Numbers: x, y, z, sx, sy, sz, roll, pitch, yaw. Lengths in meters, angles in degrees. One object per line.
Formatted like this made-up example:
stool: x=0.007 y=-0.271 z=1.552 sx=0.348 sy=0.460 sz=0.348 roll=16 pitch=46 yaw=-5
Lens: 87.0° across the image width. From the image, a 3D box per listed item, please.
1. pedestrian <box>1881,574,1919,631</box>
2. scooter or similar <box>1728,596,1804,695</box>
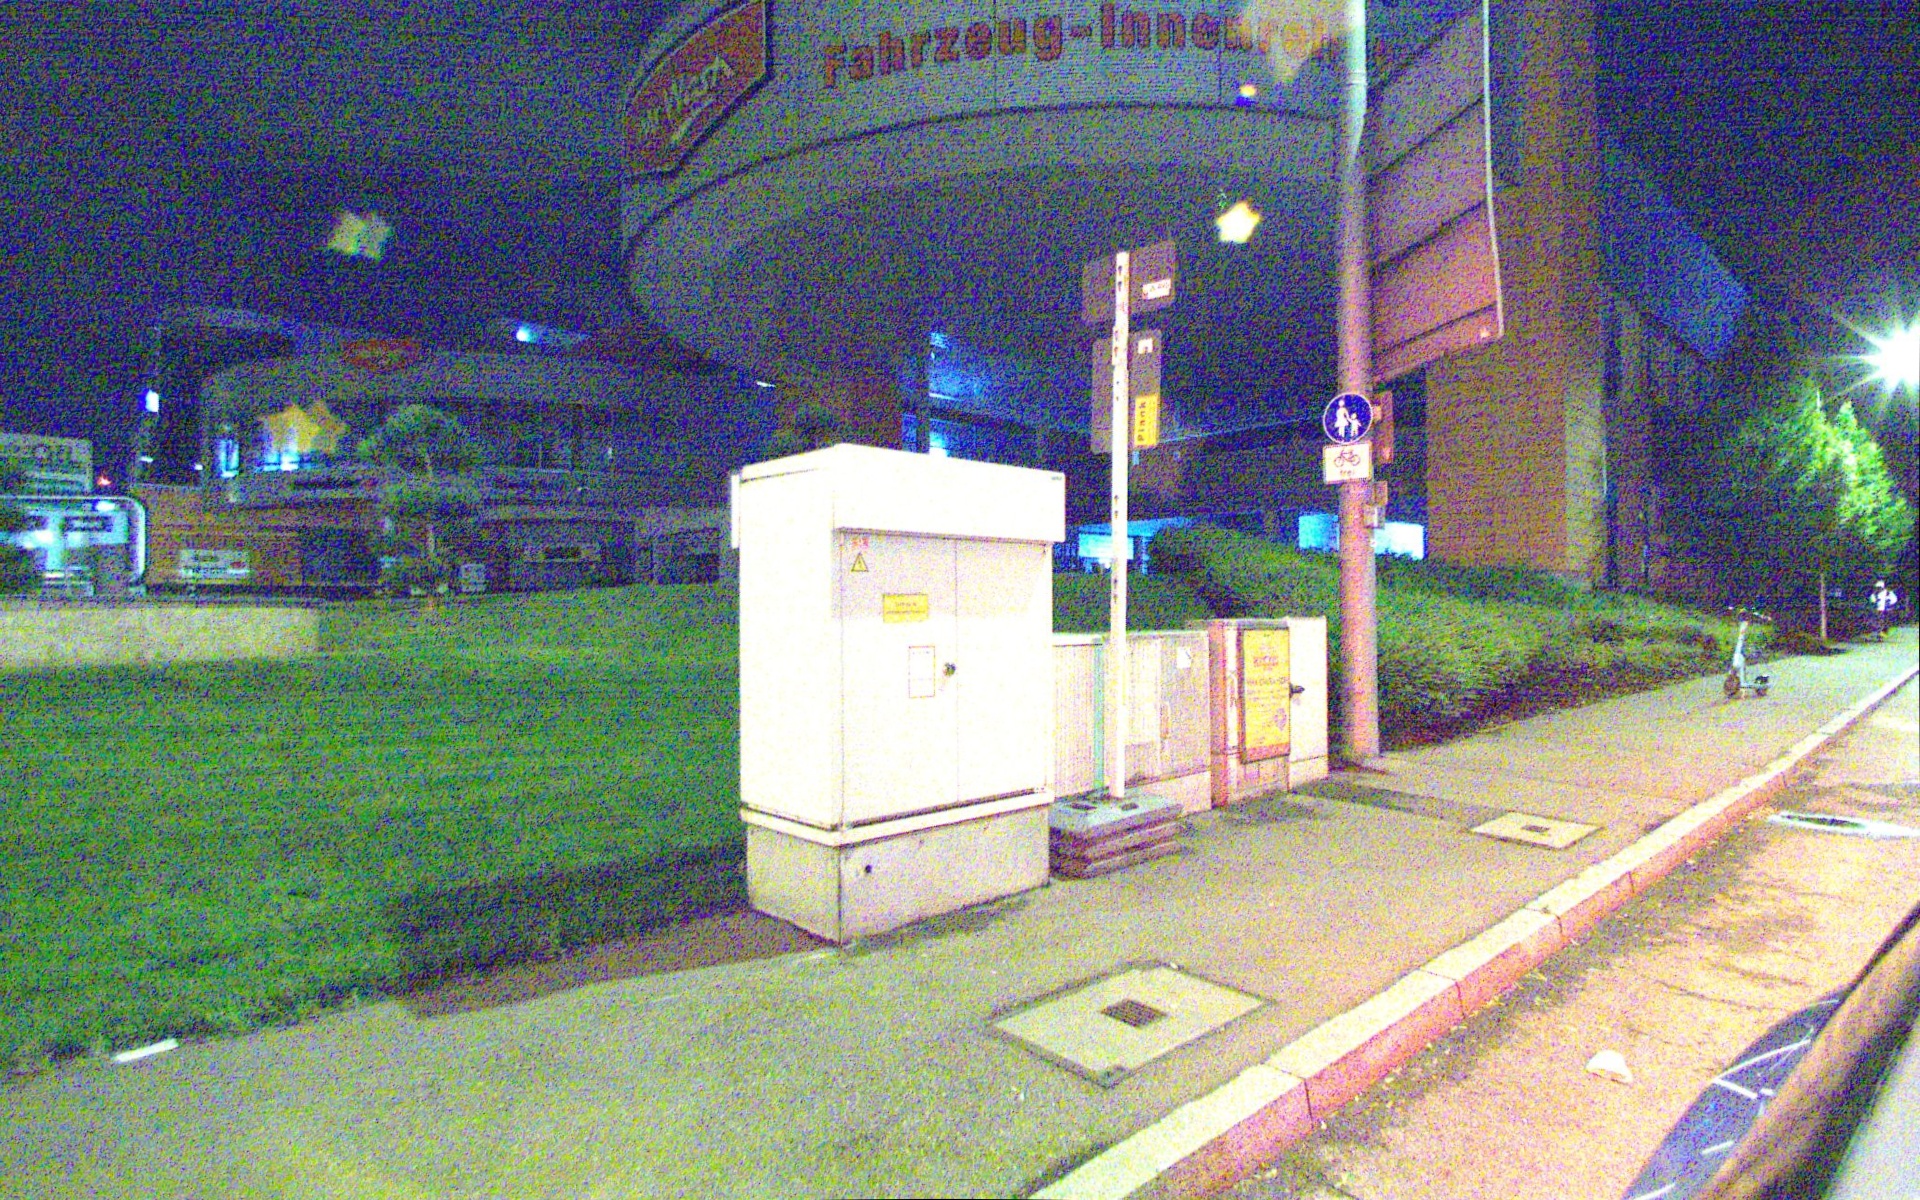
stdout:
pedestrian: x=31.064 y=0.086 z=33.436 sx=0.597 sy=1.842 sz=0.824 roll=-1 pitch=0 yaw=-40
scooter or similar: x=11.244 y=0.604 z=14.103 sx=1.367 sy=1.295 sz=0.569 roll=0 pitch=1 yaw=-41
